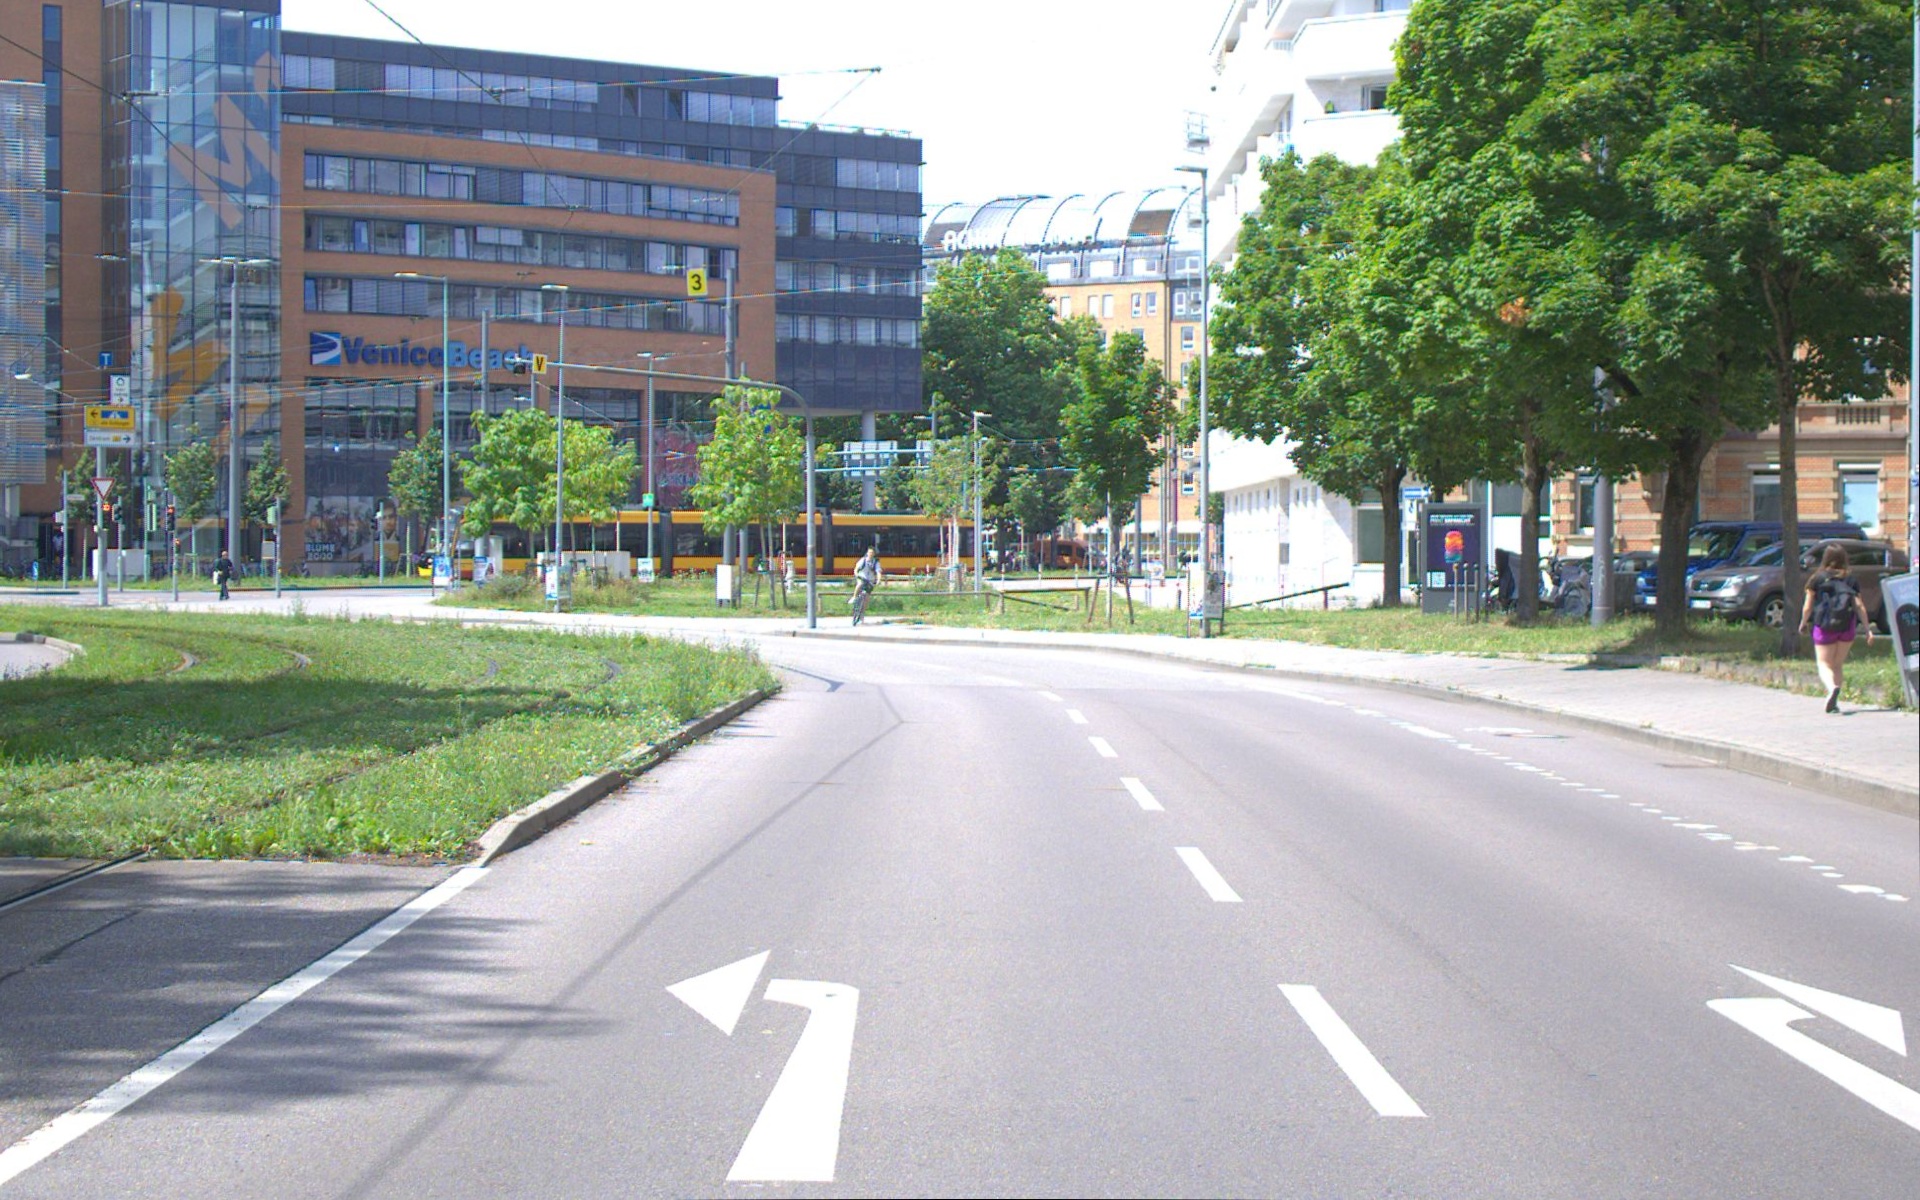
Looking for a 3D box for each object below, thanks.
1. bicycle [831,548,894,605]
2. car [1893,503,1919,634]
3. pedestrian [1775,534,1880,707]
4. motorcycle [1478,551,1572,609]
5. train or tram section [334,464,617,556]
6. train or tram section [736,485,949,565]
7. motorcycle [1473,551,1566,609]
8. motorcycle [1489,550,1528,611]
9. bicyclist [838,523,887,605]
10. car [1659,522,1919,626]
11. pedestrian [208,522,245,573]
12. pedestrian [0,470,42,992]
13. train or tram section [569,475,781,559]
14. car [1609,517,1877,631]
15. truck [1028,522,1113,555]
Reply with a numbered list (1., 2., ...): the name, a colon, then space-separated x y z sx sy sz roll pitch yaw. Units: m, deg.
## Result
1. bicycle: -2.208 -0.539 77.602 0.693 1.238 1.839 -3 2 -26
2. car: 14.756 -0.366 46.258 4.136 1.735 1.852 1 0 -30
3. pedestrian: 8.157 0.190 32.352 0.700 1.586 0.905 1 0 -1
4. motorcycle: 11.482 -0.406 69.871 1.783 1.163 0.640 0 0 -1
5. train or tram section: -21.260 -3.912 152.111 3.224 3.587 13.467 2 0 41
6. train or tram section: -5.722 -3.674 170.616 3.062 3.609 12.607 2 0 38
7. motorcycle: 11.476 -0.415 70.590 1.783 1.163 0.640 0 0 -1
8. motorcycle: 10.707 -0.386 67.054 0.638 1.163 1.905 1 1 12
9. bicyclist: -2.205 -0.812 77.568 0.694 1.818 0.956 -3 2 -26
10. car: 14.272 -0.439 58.900 4.160 1.650 1.917 1 0 -26
11. pedestrian: -24.858 -1.785 116.536 0.917 1.696 0.807 0 1 25
12. pedestrian: -3.497 0.419 11.174 0.781 1.698 0.702 2 0 2
13. train or tram section: -13.296 -3.843 161.373 3.062 3.591 10.967 2 0 39
14. car: 14.118 -0.459 61.936 4.614 1.921 1.917 1 0 -30
15. truck: 7.275 -4.048 227.051 5.518 2.078 1.995 2 0 41
